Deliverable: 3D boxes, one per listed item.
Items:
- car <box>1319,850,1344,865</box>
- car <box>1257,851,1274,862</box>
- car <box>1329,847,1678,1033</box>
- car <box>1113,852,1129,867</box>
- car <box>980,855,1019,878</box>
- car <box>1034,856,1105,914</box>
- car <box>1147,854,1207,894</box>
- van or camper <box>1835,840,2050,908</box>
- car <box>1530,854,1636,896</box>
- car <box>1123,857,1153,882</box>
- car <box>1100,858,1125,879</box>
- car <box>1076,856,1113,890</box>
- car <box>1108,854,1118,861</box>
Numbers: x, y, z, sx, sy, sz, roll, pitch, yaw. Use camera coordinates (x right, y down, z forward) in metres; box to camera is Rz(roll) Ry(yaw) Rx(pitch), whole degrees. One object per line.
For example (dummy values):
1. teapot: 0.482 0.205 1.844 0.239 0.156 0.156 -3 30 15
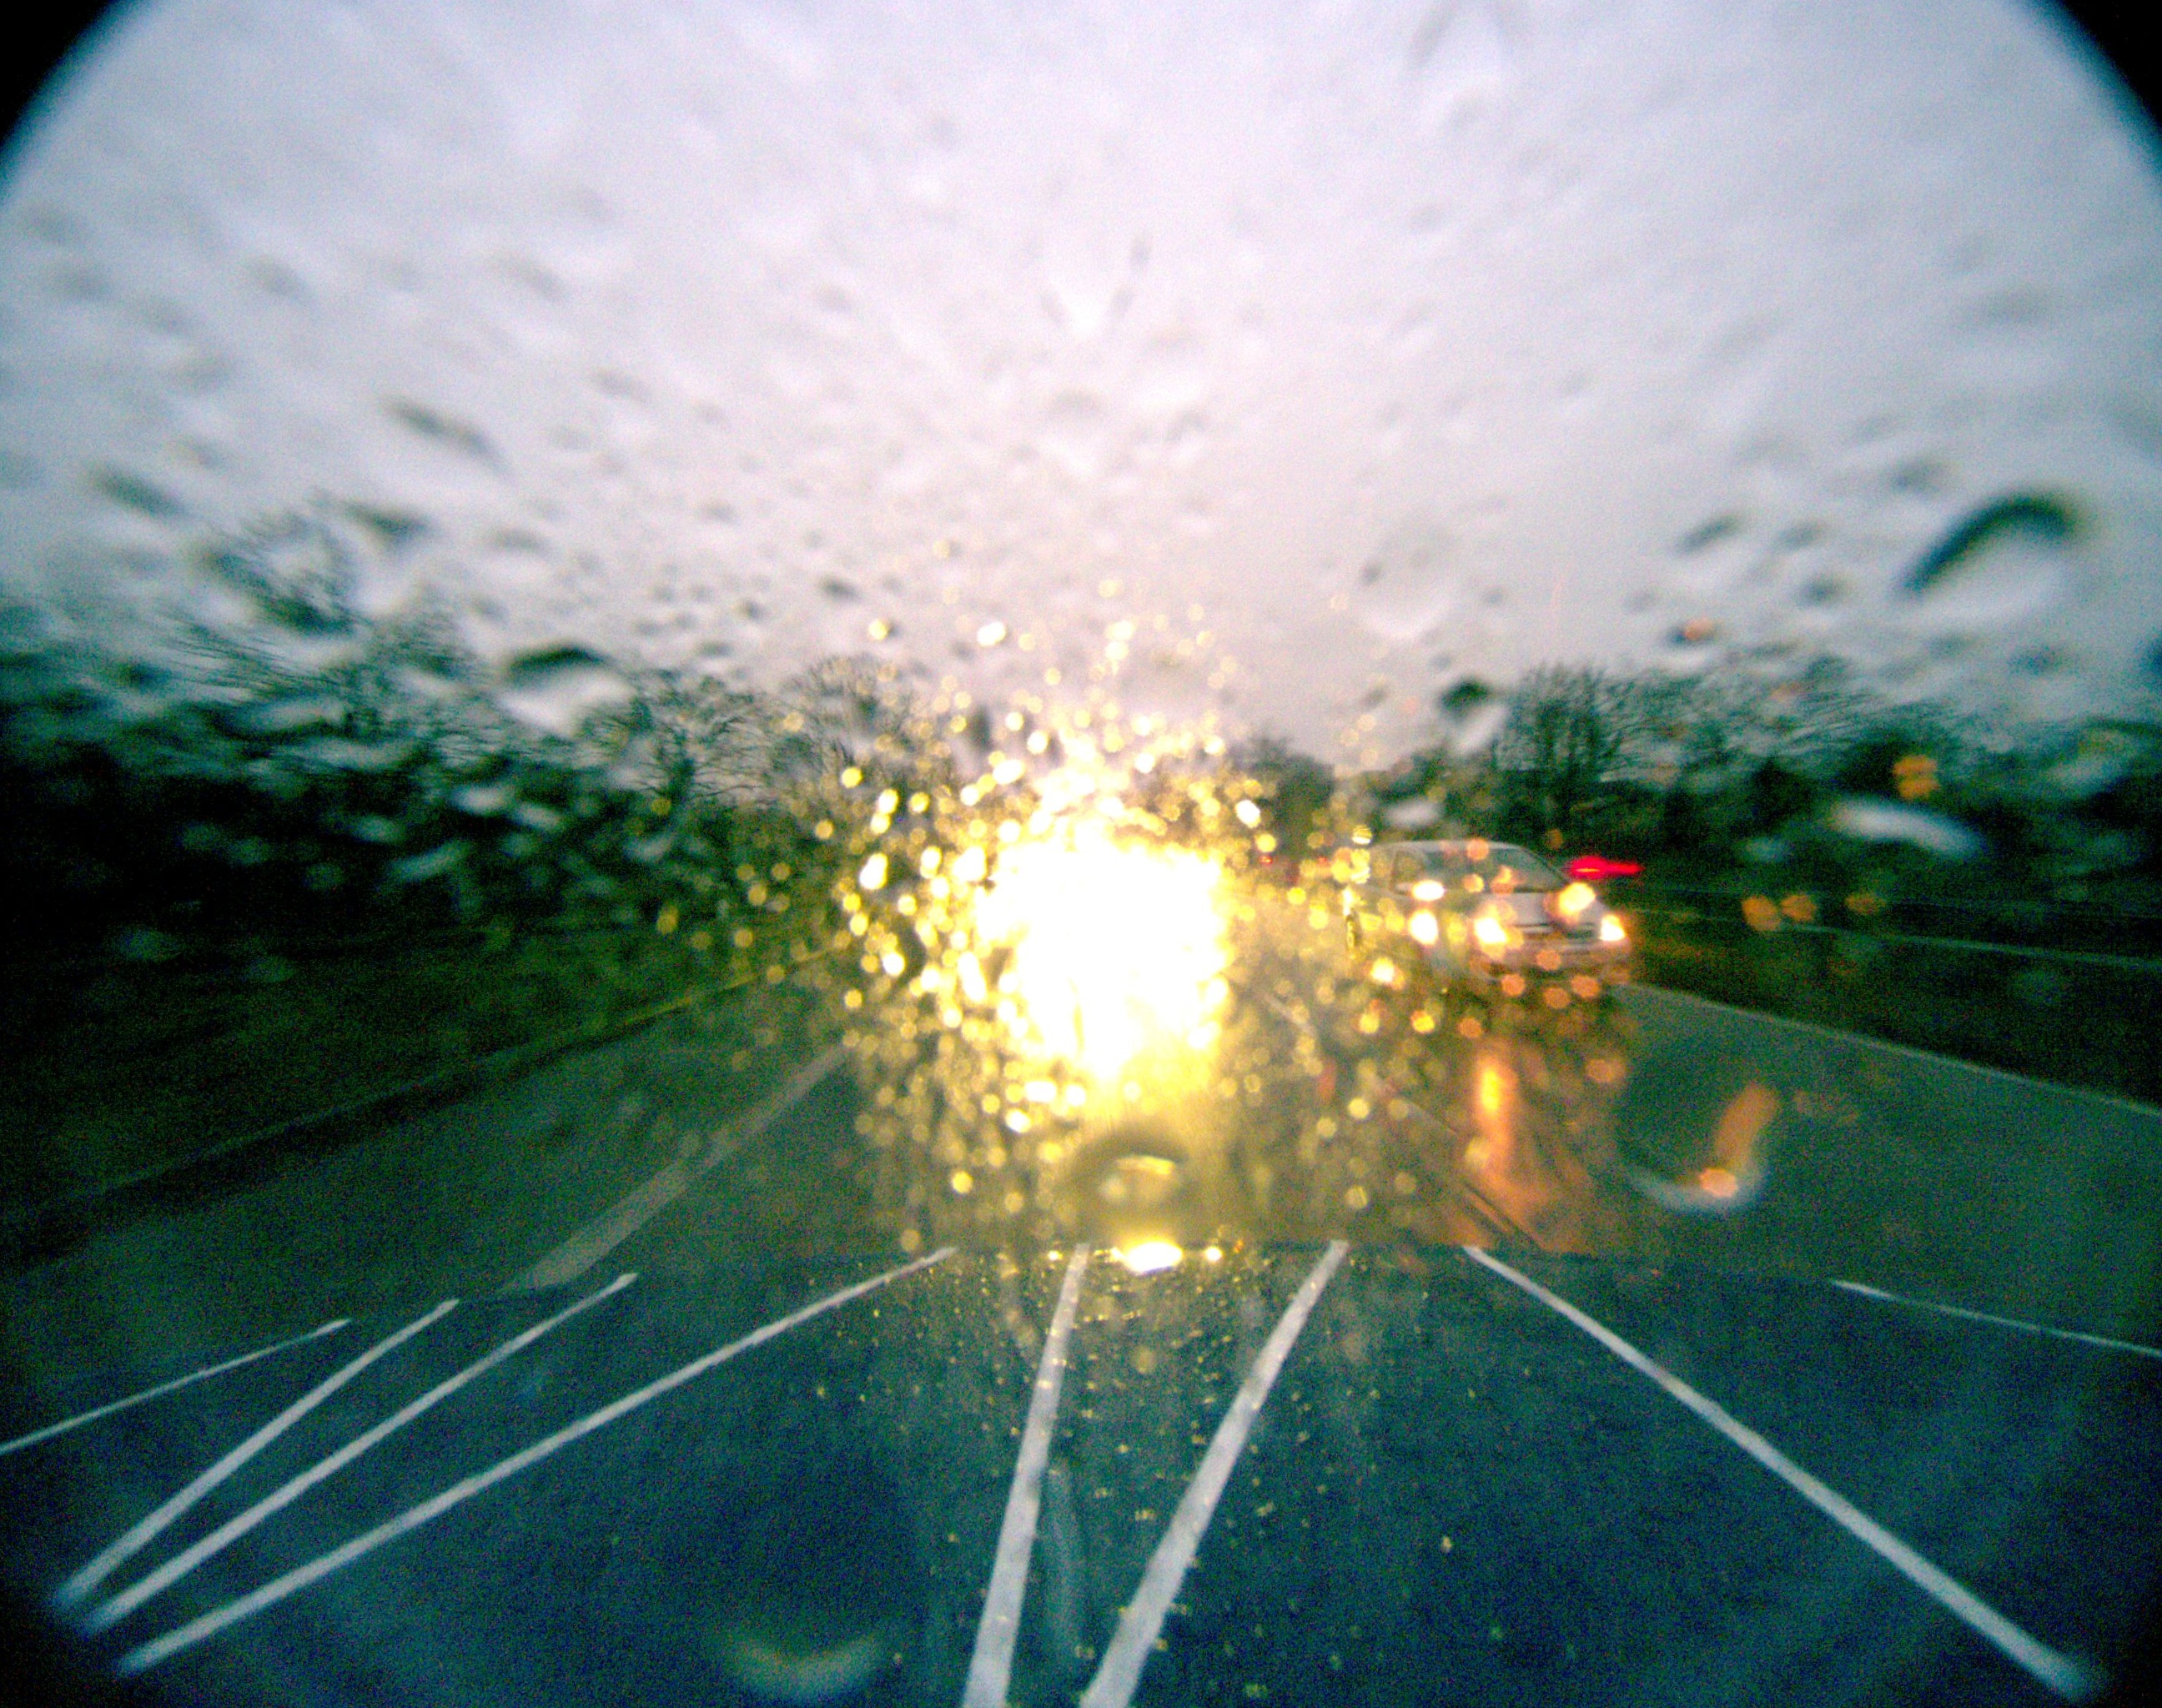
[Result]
1. car: 28.559 0.356 86.848 1.787 1.599 4.683 -1 1 6
2. car: 28.197 0.408 116.069 1.652 1.557 4.598 -1 1 3
3. car: 4.384 0.739 8.741 1.765 1.590 4.165 -1 1 1
4. car: 4.840 0.669 92.006 1.852 1.610 3.951 -2 1 3
5. car: -5.497 0.851 51.834 1.727 1.426 3.793 -1 1 9
6. car: -0.257 0.868 23.094 1.830 1.524 4.000 -1 1 3
7. car: 3.959 0.797 32.061 2.026 1.521 4.145 -1 1 0
8. van or camper: 24.815 0.507 22.164 1.652 1.773 4.209 -1 1 3
9. car: 20.058 0.788 30.588 1.787 1.524 4.053 -1 1 3
10. car: 3.464 0.921 46.742 1.696 1.327 4.000 -2 1 3
11. car: 2.669 1.177 65.076 1.852 1.610 3.950 -2 1 0
12. car: 0.749 0.943 39.466 1.728 1.573 3.791 -1 1 3
13. car: 7.415 0.808 177.139 1.998 1.605 4.000 -1 0 0
